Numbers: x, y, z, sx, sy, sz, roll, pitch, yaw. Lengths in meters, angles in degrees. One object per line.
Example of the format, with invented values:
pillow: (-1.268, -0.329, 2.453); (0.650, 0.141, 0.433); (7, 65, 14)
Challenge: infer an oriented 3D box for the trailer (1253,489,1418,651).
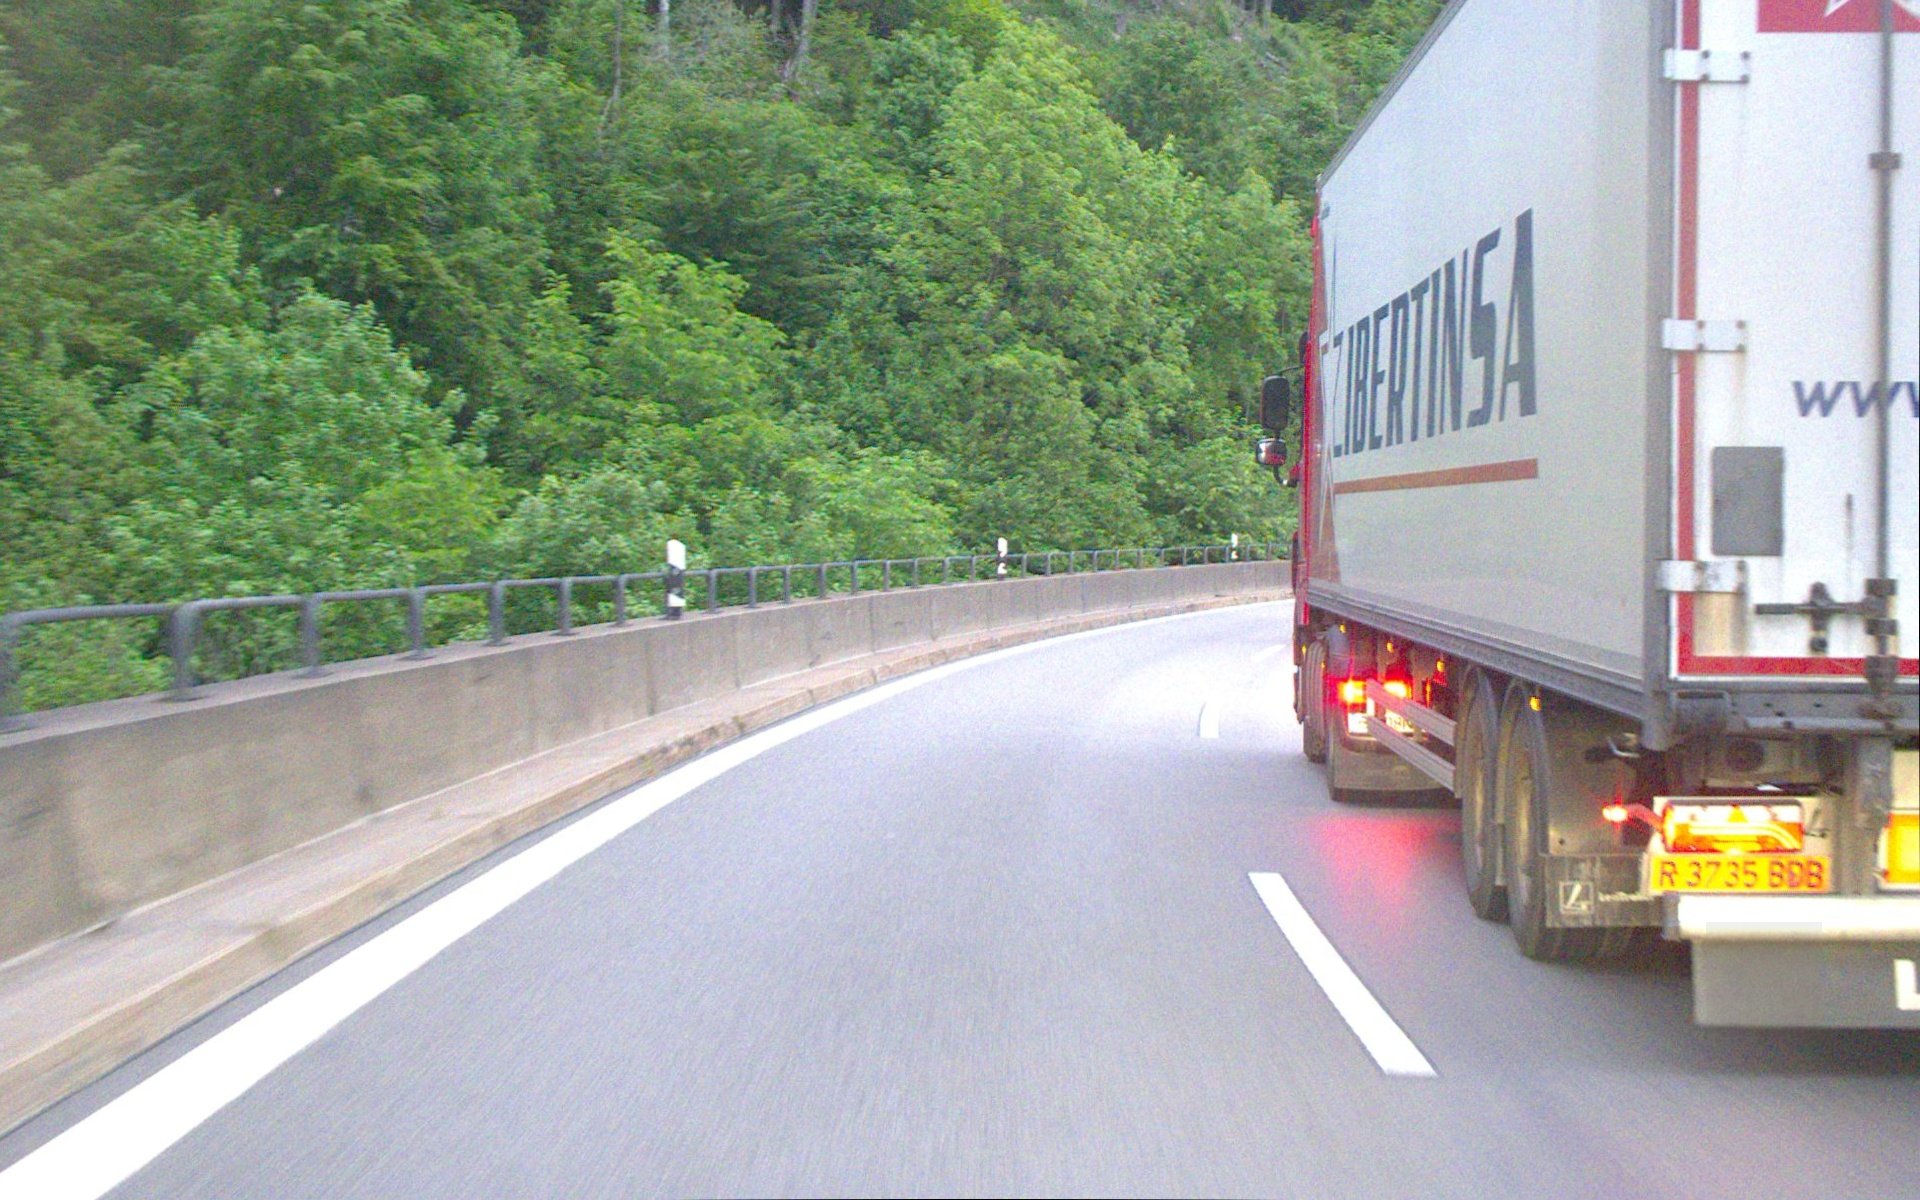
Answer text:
trailer: (6.008, -0.547, 54.416); (2.055, 2.366, 5.936); (2, 2, 11)

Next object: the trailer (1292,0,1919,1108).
trailer: (3.603, -0.770, 16.436); (3.097, 3.956, 14.218); (0, 1, 2)

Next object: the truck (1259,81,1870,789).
truck: (3.813, -1.001, 23.335); (3.069, 4.130, 6.447); (0, 1, 1)
